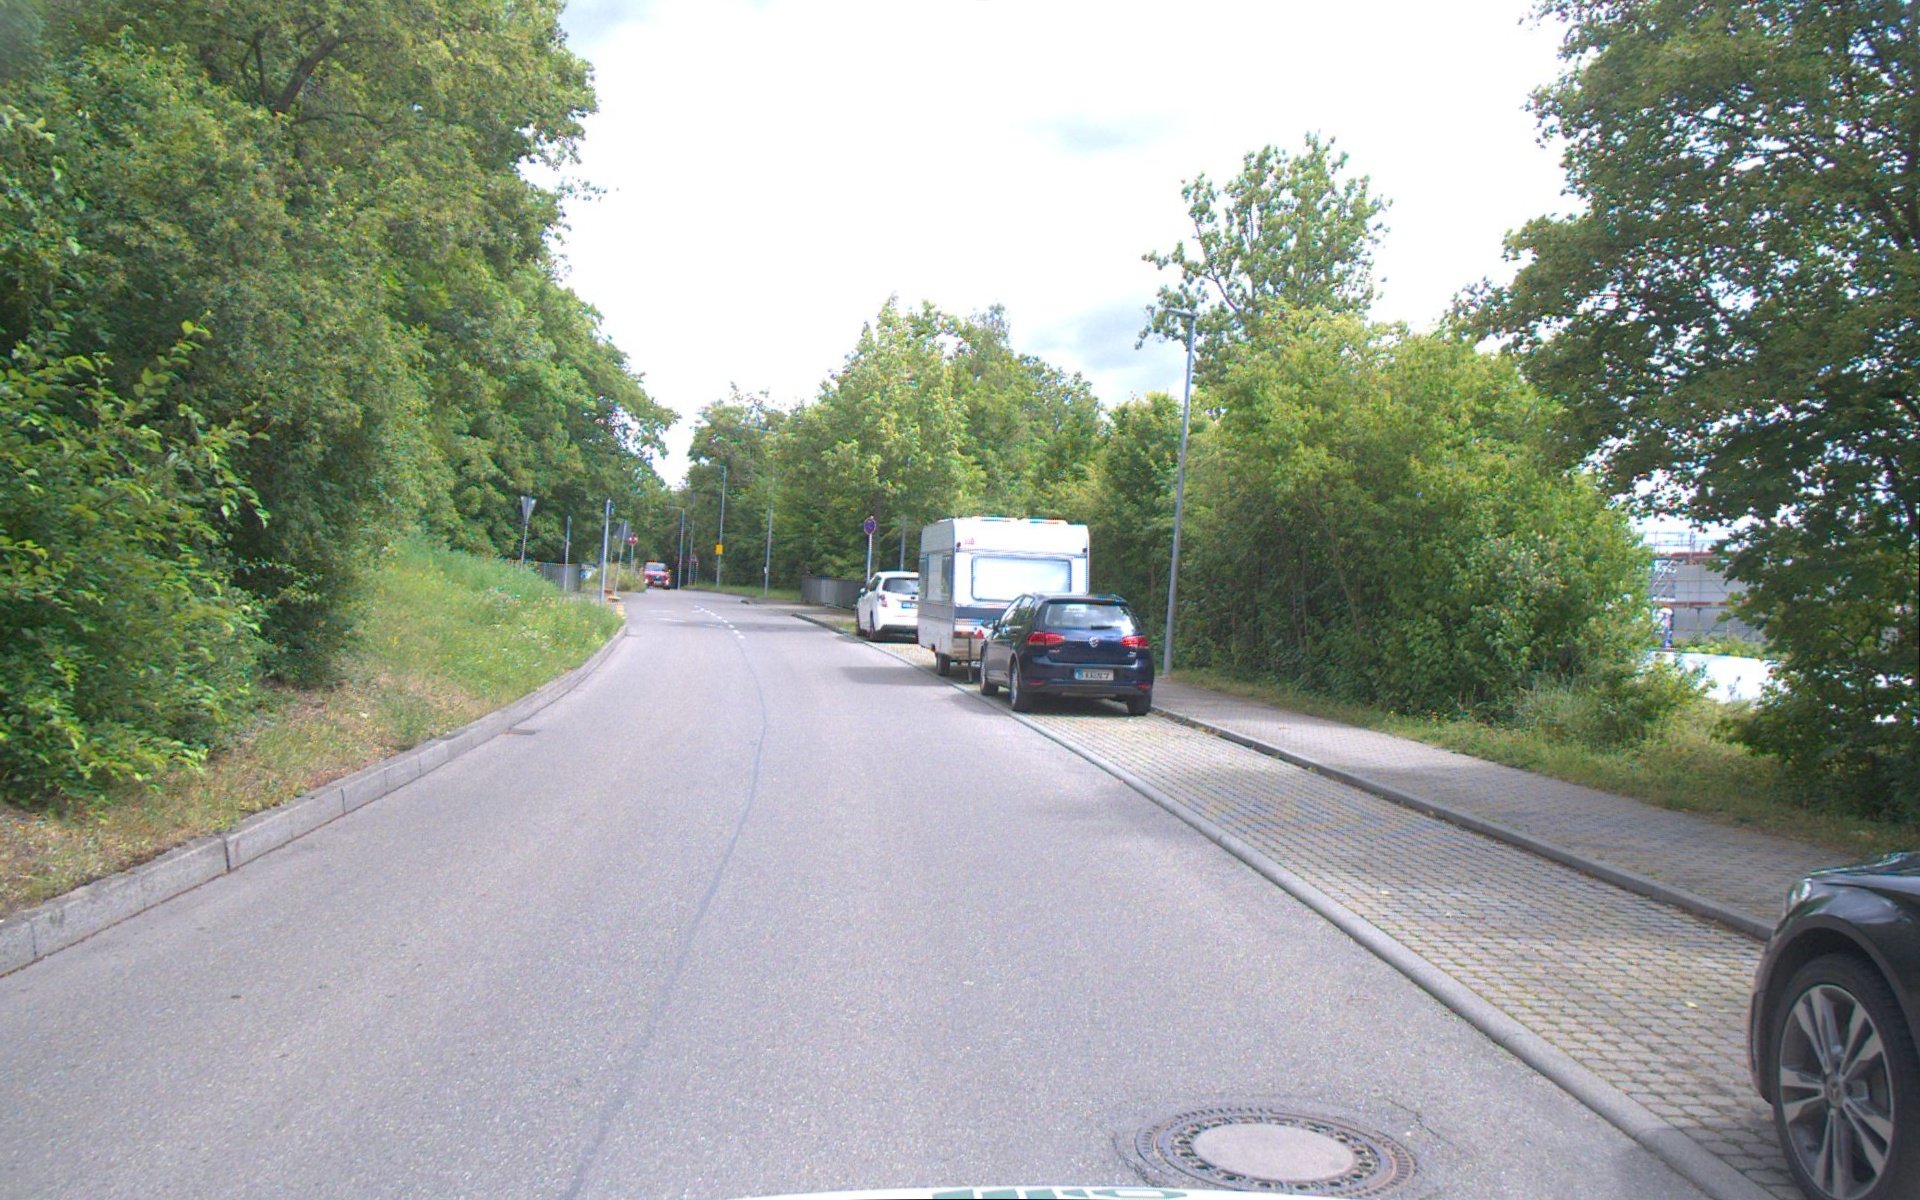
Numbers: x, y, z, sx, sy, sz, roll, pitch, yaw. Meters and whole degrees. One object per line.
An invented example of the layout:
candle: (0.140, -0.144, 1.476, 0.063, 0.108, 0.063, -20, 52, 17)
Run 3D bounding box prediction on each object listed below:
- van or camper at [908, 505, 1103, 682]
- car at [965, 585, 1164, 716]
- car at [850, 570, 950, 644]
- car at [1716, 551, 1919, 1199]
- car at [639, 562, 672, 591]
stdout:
van or camper: (0.619, -0.122, 27.451, 2.311, 2.598, 5.064, 2, 0, -9)
car: (1.261, 0.585, 21.880, 1.651, 1.476, 4.471, 3, 0, -9)
car: (-1.517, 0.116, 40.182, 1.772, 1.627, 4.361, 2, 1, -10)
car: (3.122, 0.732, 2.391, 1.855, 1.556, 4.545, 3, 1, -1)
car: (-19.805, -1.535, 107.488, 1.812, 1.687, 4.207, 3, 1, -14)
